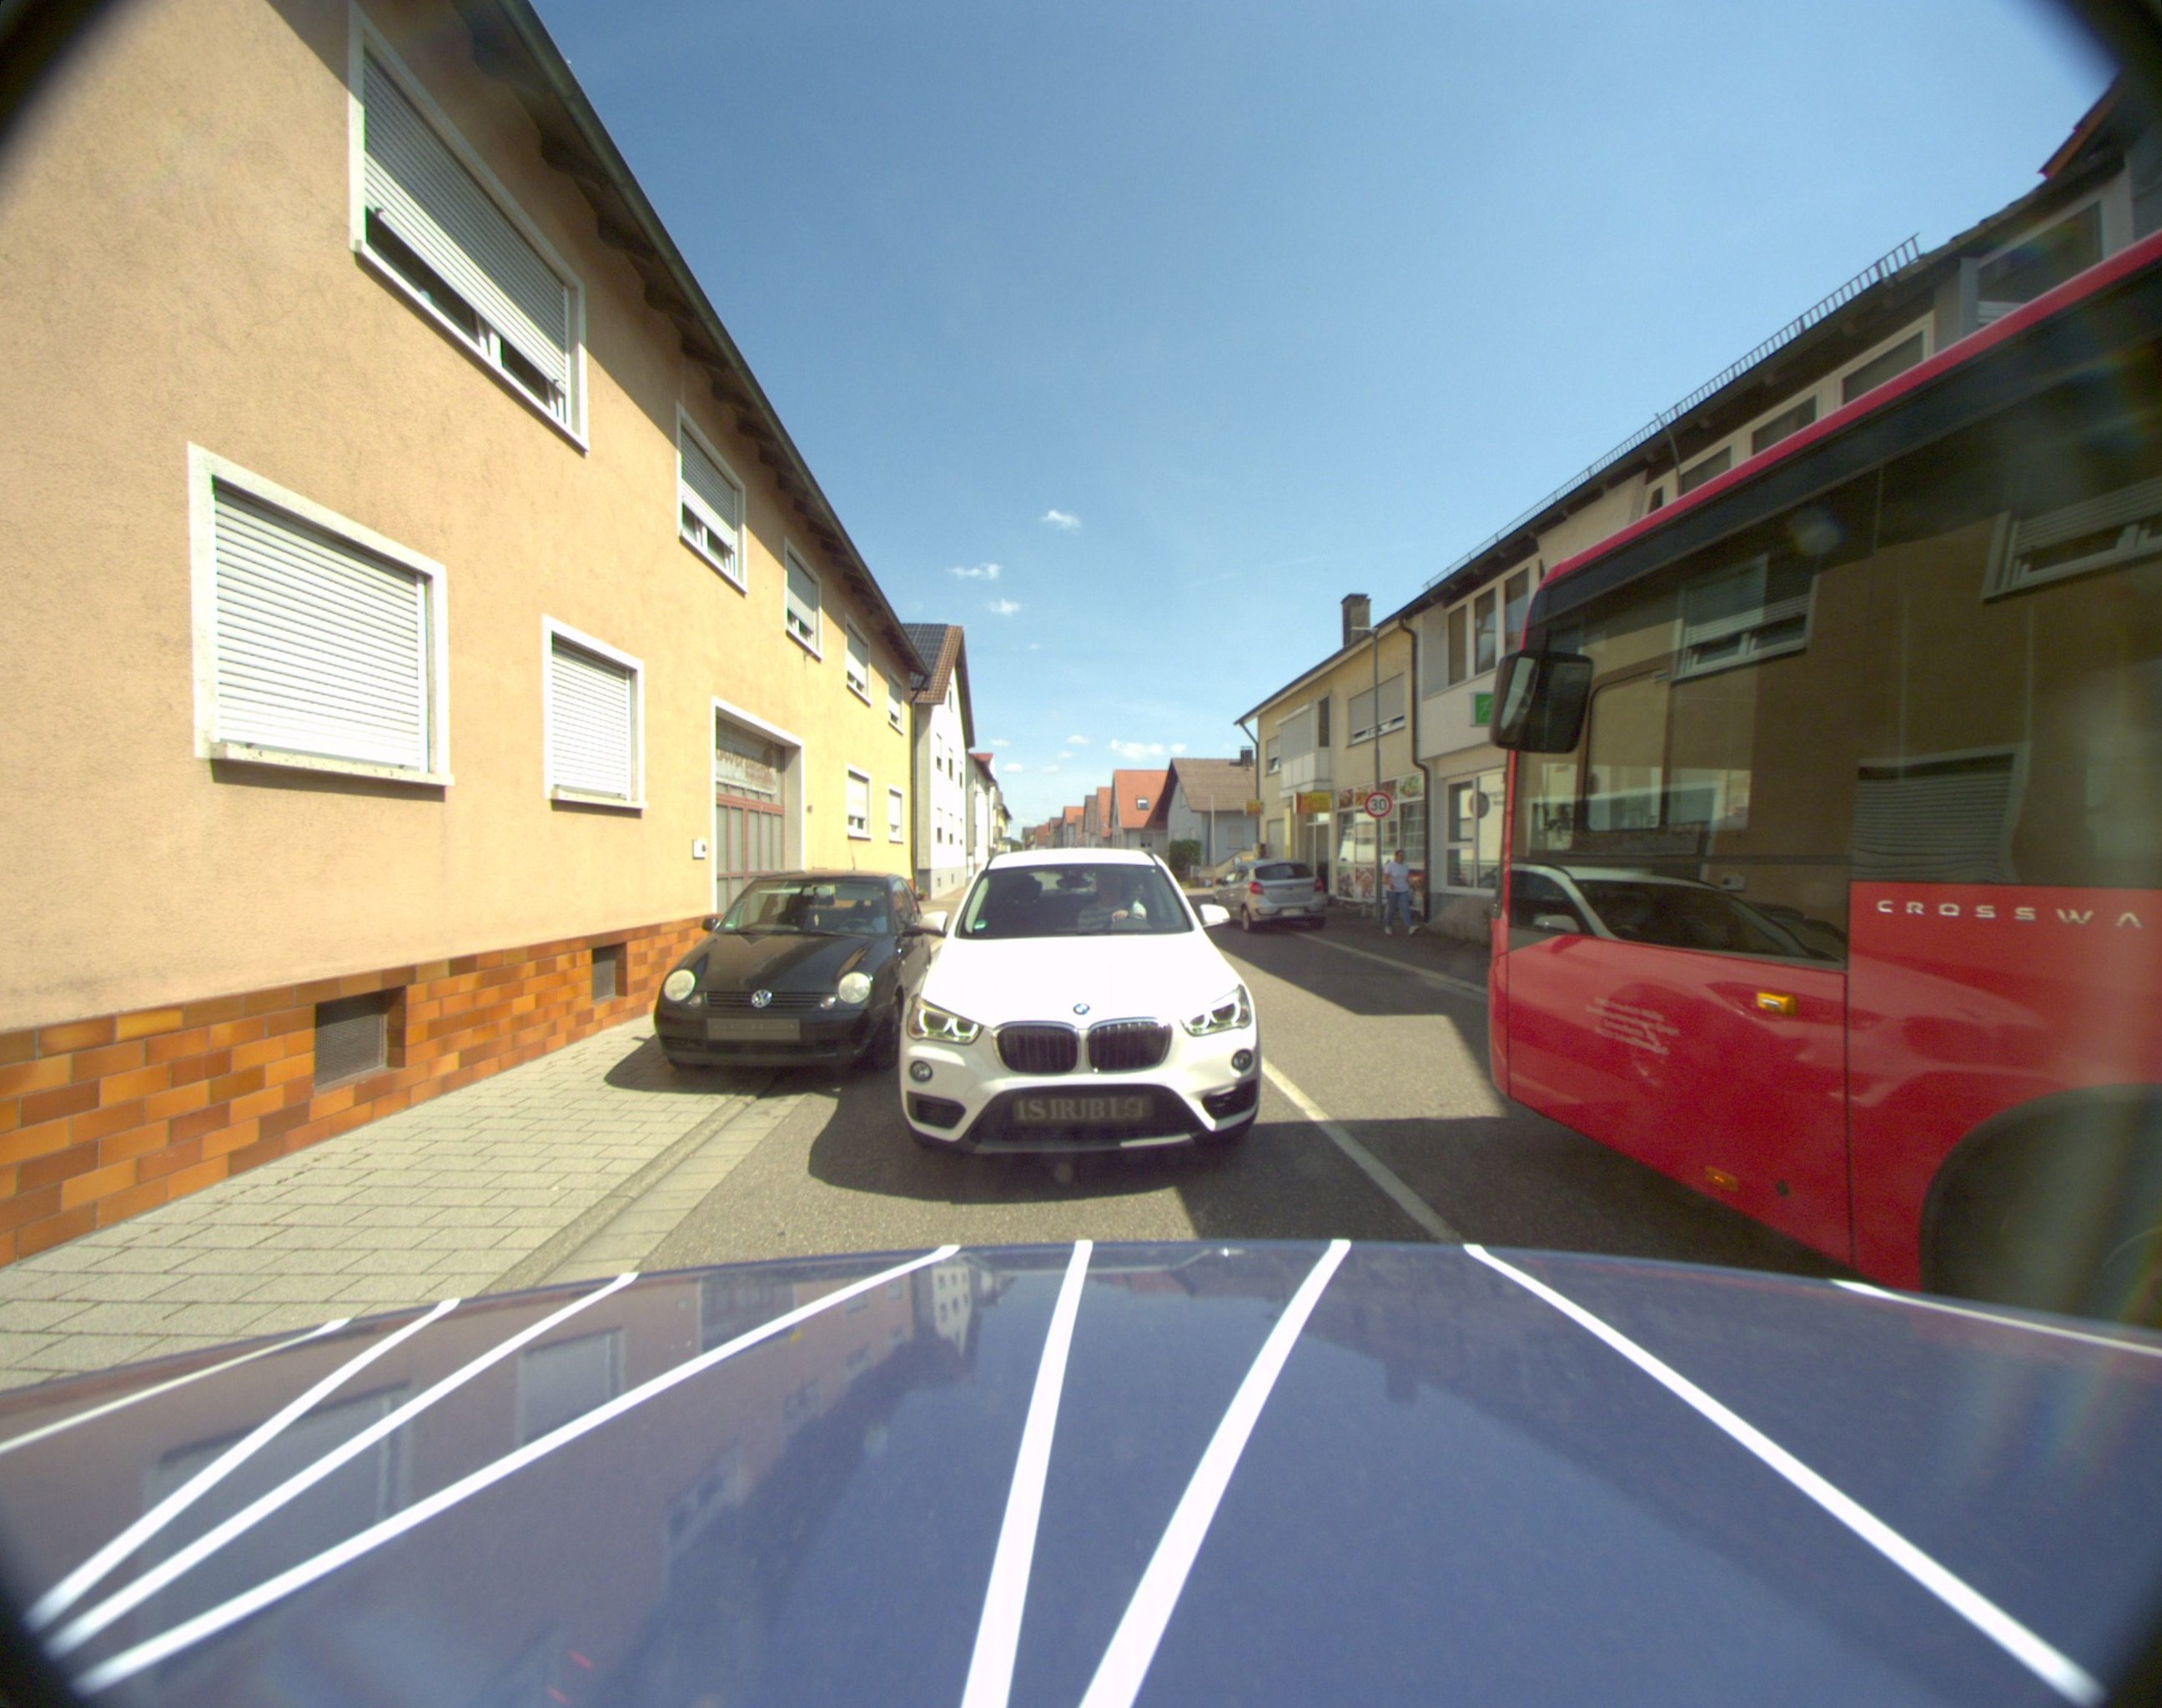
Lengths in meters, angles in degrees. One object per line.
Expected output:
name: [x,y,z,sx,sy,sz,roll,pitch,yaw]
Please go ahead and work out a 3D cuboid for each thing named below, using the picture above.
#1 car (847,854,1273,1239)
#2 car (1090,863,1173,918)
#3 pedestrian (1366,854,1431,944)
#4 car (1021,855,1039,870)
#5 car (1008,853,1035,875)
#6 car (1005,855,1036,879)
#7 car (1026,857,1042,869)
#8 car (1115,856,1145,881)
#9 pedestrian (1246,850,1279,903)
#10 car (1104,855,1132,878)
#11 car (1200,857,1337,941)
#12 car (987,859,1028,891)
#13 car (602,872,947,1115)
car: [-0.177,0.864,5.590,1.845,1.636,4.373,-2,0,-3]
car: [1.352,0.993,21.963,1.765,1.389,3.868,1,0,-5]
pedestrian: [5.908,0.813,14.177,0.757,1.575,0.956,-2,1,-1]
car: [-5.086,0.826,76.003,1.765,1.420,4.188,0,0,-3]
car: [-4.064,0.684,52.584,1.765,1.420,4.188,0,0,-3]
car: [-3.624,0.761,46.155,1.765,1.420,4.188,0,0,-3]
car: [-5.887,1.091,94.727,1.765,1.420,4.187,0,0,-6]
car: [2.917,0.865,45.878,1.458,1.362,3.383,-3,0,-2]
pedestrian: [5.701,0.688,23.886,0.757,1.575,0.956,-2,1,-1]
car: [2.442,0.818,50.246,1.442,1.362,3.383,-3,0,-3]
car: [4.088,0.915,17.262,1.749,1.507,3.998,-4,1,-5]
car: [-3.382,0.924,35.457,1.765,1.420,4.188,0,0,-3]
car: [-2.255,0.938,6.642,1.690,1.454,3.628,2,0,-3]
